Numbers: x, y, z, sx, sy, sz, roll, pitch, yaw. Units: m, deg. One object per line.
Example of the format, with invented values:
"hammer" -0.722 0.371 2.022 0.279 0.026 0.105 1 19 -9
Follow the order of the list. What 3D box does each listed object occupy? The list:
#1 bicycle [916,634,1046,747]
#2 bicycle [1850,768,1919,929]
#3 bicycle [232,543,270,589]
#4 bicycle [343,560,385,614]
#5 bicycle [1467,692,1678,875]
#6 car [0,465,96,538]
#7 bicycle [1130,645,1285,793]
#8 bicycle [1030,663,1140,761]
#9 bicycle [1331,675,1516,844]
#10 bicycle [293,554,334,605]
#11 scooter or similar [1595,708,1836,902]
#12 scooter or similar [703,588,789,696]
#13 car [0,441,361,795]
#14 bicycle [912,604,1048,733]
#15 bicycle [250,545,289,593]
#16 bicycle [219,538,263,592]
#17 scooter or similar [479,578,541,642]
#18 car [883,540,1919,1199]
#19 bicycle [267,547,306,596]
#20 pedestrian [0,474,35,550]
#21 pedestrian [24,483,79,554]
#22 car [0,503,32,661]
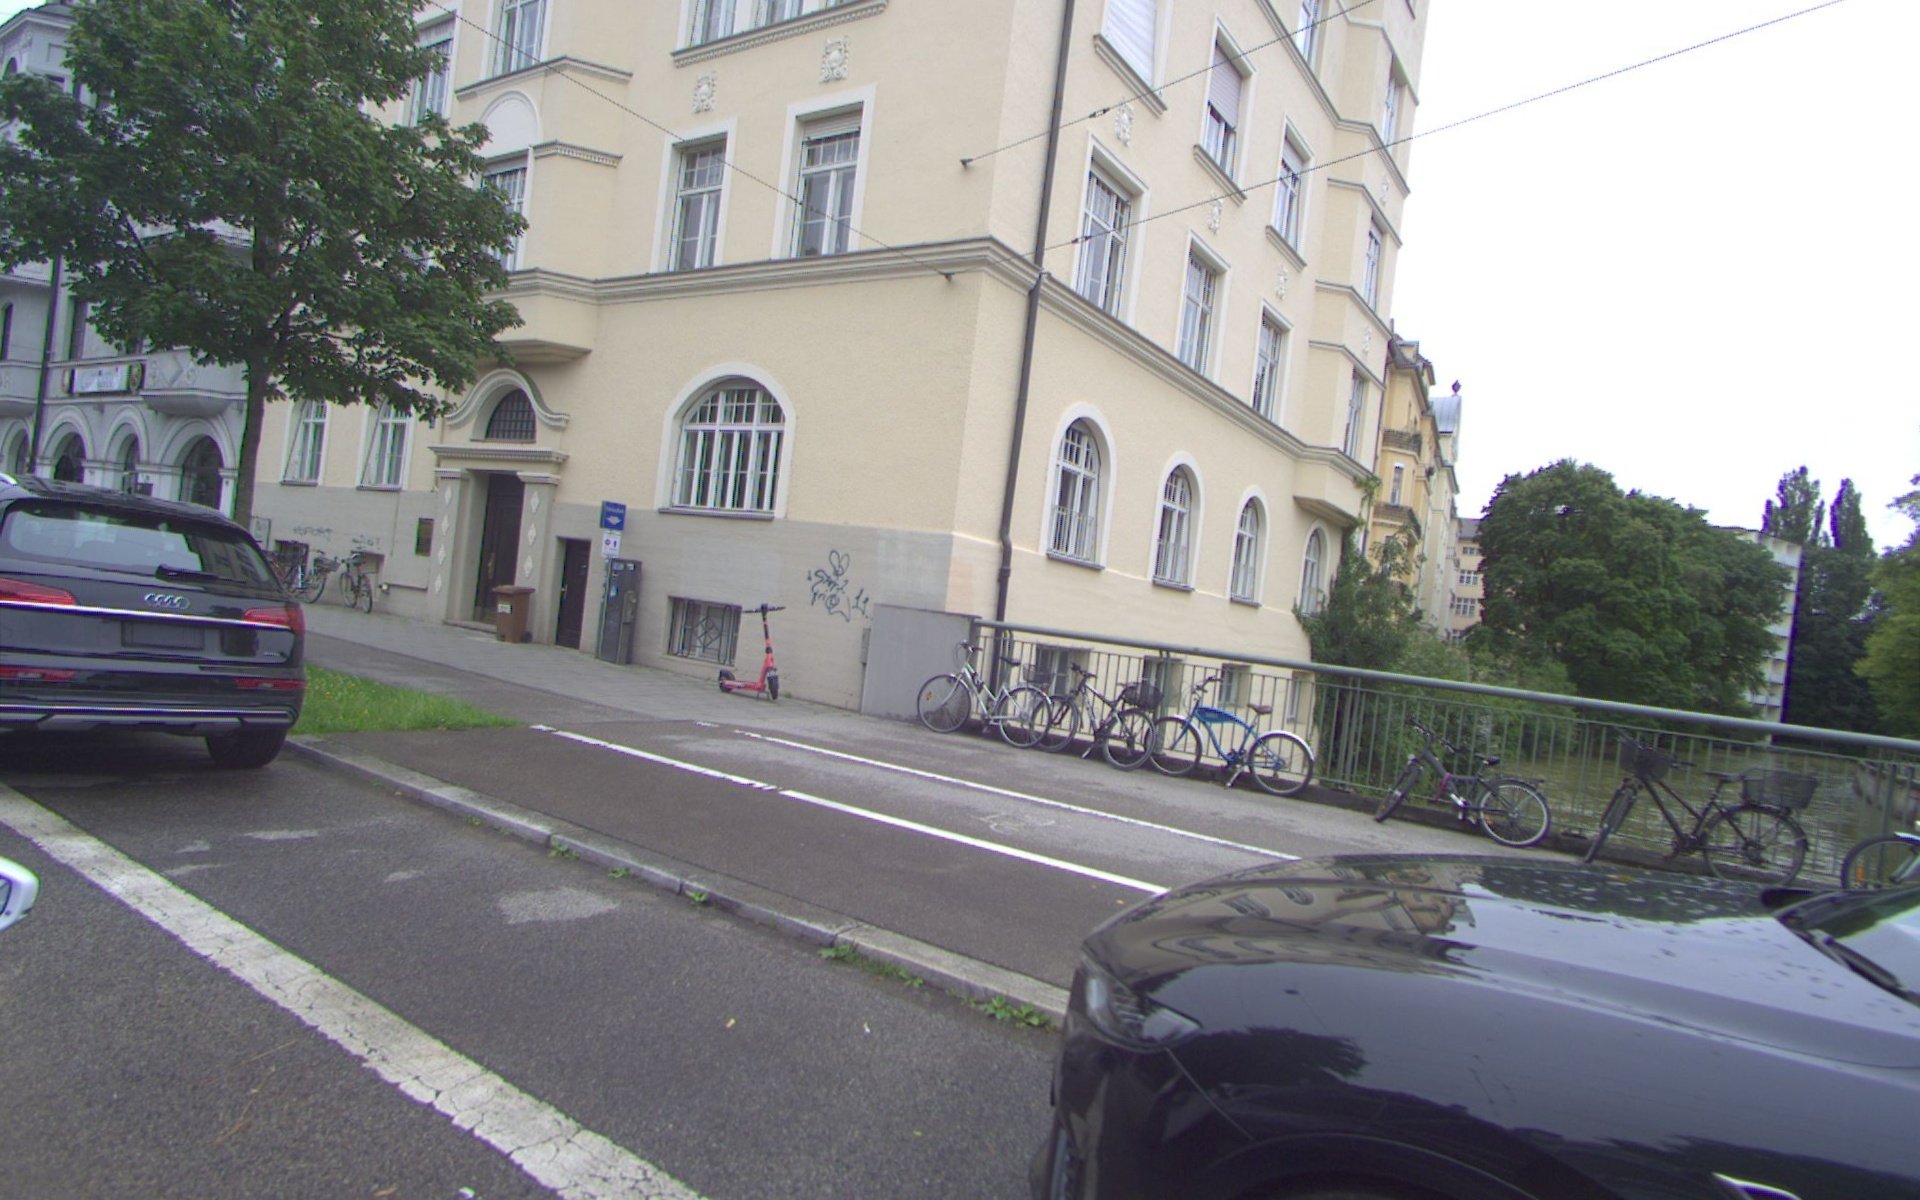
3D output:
"bicycle" 0.238 1.047 11.863 1.417 1.119 0.287 7 0 26
"bicycle" 7.457 1.889 7.240 1.513 1.094 0.265 7 -1 18
"bicycle" -15.731 -0.756 22.322 0.871 0.941 0.291 6 -1 34
"bicycle" -11.528 -0.260 19.451 0.871 0.941 0.222 7 -1 32
"bicycle" 5.165 1.527 8.527 1.383 1.296 0.283 7 -1 13
"car" -41.983 -4.533 44.340 2.193 2.642 5.309 7 -2 30
"bicycle" 2.531 1.197 10.330 1.384 1.296 0.283 7 -1 22
"bicycle" 1.399 1.246 11.265 1.122 0.948 0.249 6 3 12
"bicycle" 4.205 1.427 9.202 1.384 1.296 0.283 7 -1 22
"bicycle" -13.138 -0.429 20.442 0.871 0.941 0.285 6 -1 34
"scooter or similar" 5.984 1.608 8.003 1.467 1.277 0.245 7 -1 10
"scooter or similar" -2.889 0.553 13.557 1.124 1.328 0.261 7 -1 33
"car" -6.031 -0.036 6.557 4.415 1.677 1.777 6 -2 34
"bicycle" 0.226 0.801 12.004 1.511 1.327 0.332 7 -1 32
"bicycle" -14.959 -0.673 21.780 0.872 0.941 0.306 6 -1 35
"bicycle" -15.471 -0.755 21.650 1.203 1.051 0.242 6 -1 33
"scooter or similar" -7.572 0.174 16.938 0.538 0.957 0.662 7 -2 34
"car" 2.317 1.040 1.393 4.589 1.628 1.904 7 -2 33
"bicycle" -14.195 -0.602 21.209 0.871 0.941 0.273 6 -1 34
"pedestrian" -24.527 -2.271 25.890 0.855 1.837 0.706 7 -1 33
"pedestrian" -24.078 -2.157 26.665 0.829 1.752 0.706 7 -1 33
"car" -11.101 -0.450 9.874 4.527 1.442 1.719 6 -2 32
